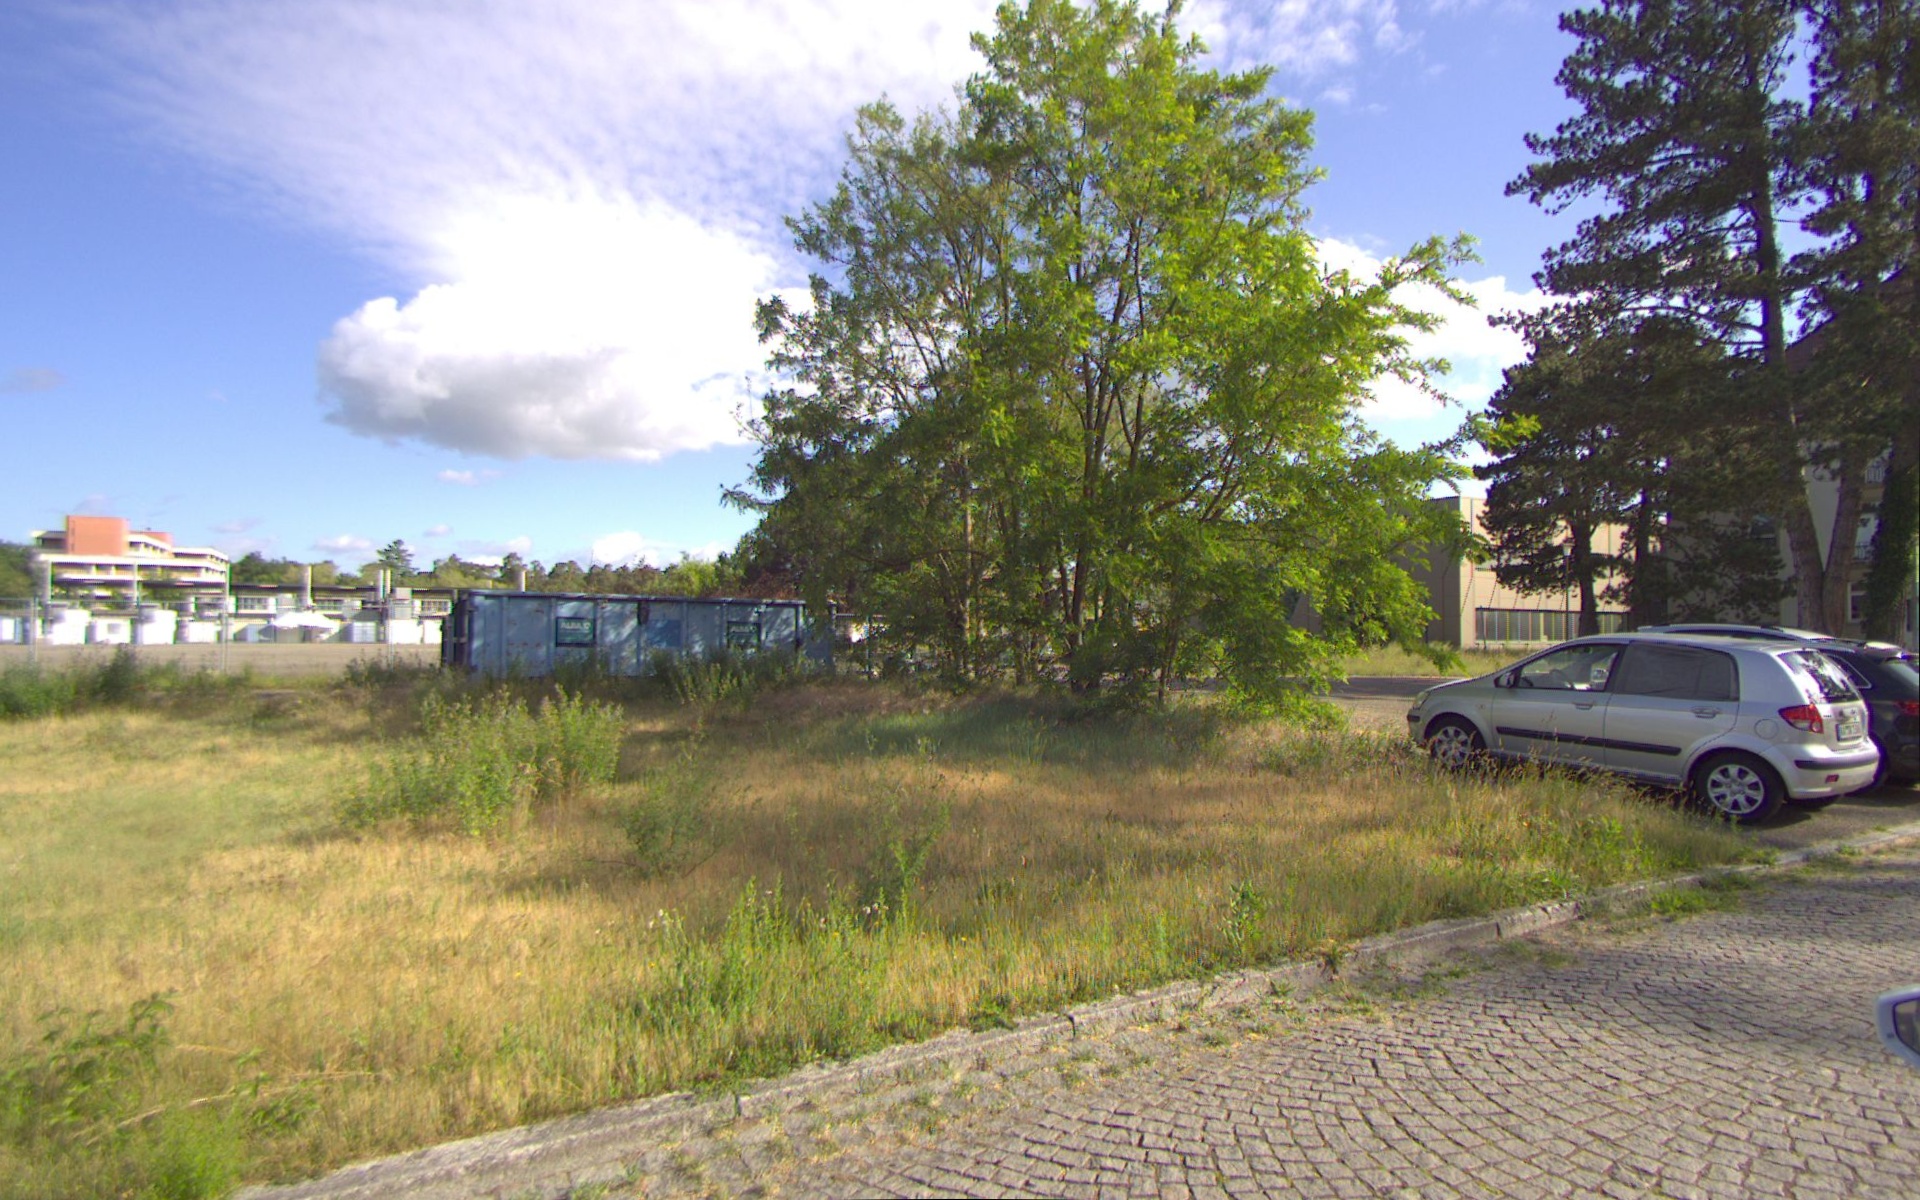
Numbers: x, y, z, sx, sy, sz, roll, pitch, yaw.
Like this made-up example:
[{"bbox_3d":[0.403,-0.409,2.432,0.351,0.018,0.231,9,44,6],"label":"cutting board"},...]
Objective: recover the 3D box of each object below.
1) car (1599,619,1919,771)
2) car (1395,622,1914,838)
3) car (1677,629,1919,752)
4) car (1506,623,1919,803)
[{"bbox_3d":[10.885,1.111,12.958,1.865,1.614,4.057,1,0,-32],"label":"car"},{"bbox_3d":[6.324,1.020,9.571,1.628,1.507,3.725,1,0,-32],"label":"car"},{"bbox_3d":[12.848,1.225,13.983,1.810,1.488,4.309,1,0,-32],"label":"car"},{"bbox_3d":[8.456,1.063,11.024,1.783,1.500,3.965,1,0,-32],"label":"car"}]
